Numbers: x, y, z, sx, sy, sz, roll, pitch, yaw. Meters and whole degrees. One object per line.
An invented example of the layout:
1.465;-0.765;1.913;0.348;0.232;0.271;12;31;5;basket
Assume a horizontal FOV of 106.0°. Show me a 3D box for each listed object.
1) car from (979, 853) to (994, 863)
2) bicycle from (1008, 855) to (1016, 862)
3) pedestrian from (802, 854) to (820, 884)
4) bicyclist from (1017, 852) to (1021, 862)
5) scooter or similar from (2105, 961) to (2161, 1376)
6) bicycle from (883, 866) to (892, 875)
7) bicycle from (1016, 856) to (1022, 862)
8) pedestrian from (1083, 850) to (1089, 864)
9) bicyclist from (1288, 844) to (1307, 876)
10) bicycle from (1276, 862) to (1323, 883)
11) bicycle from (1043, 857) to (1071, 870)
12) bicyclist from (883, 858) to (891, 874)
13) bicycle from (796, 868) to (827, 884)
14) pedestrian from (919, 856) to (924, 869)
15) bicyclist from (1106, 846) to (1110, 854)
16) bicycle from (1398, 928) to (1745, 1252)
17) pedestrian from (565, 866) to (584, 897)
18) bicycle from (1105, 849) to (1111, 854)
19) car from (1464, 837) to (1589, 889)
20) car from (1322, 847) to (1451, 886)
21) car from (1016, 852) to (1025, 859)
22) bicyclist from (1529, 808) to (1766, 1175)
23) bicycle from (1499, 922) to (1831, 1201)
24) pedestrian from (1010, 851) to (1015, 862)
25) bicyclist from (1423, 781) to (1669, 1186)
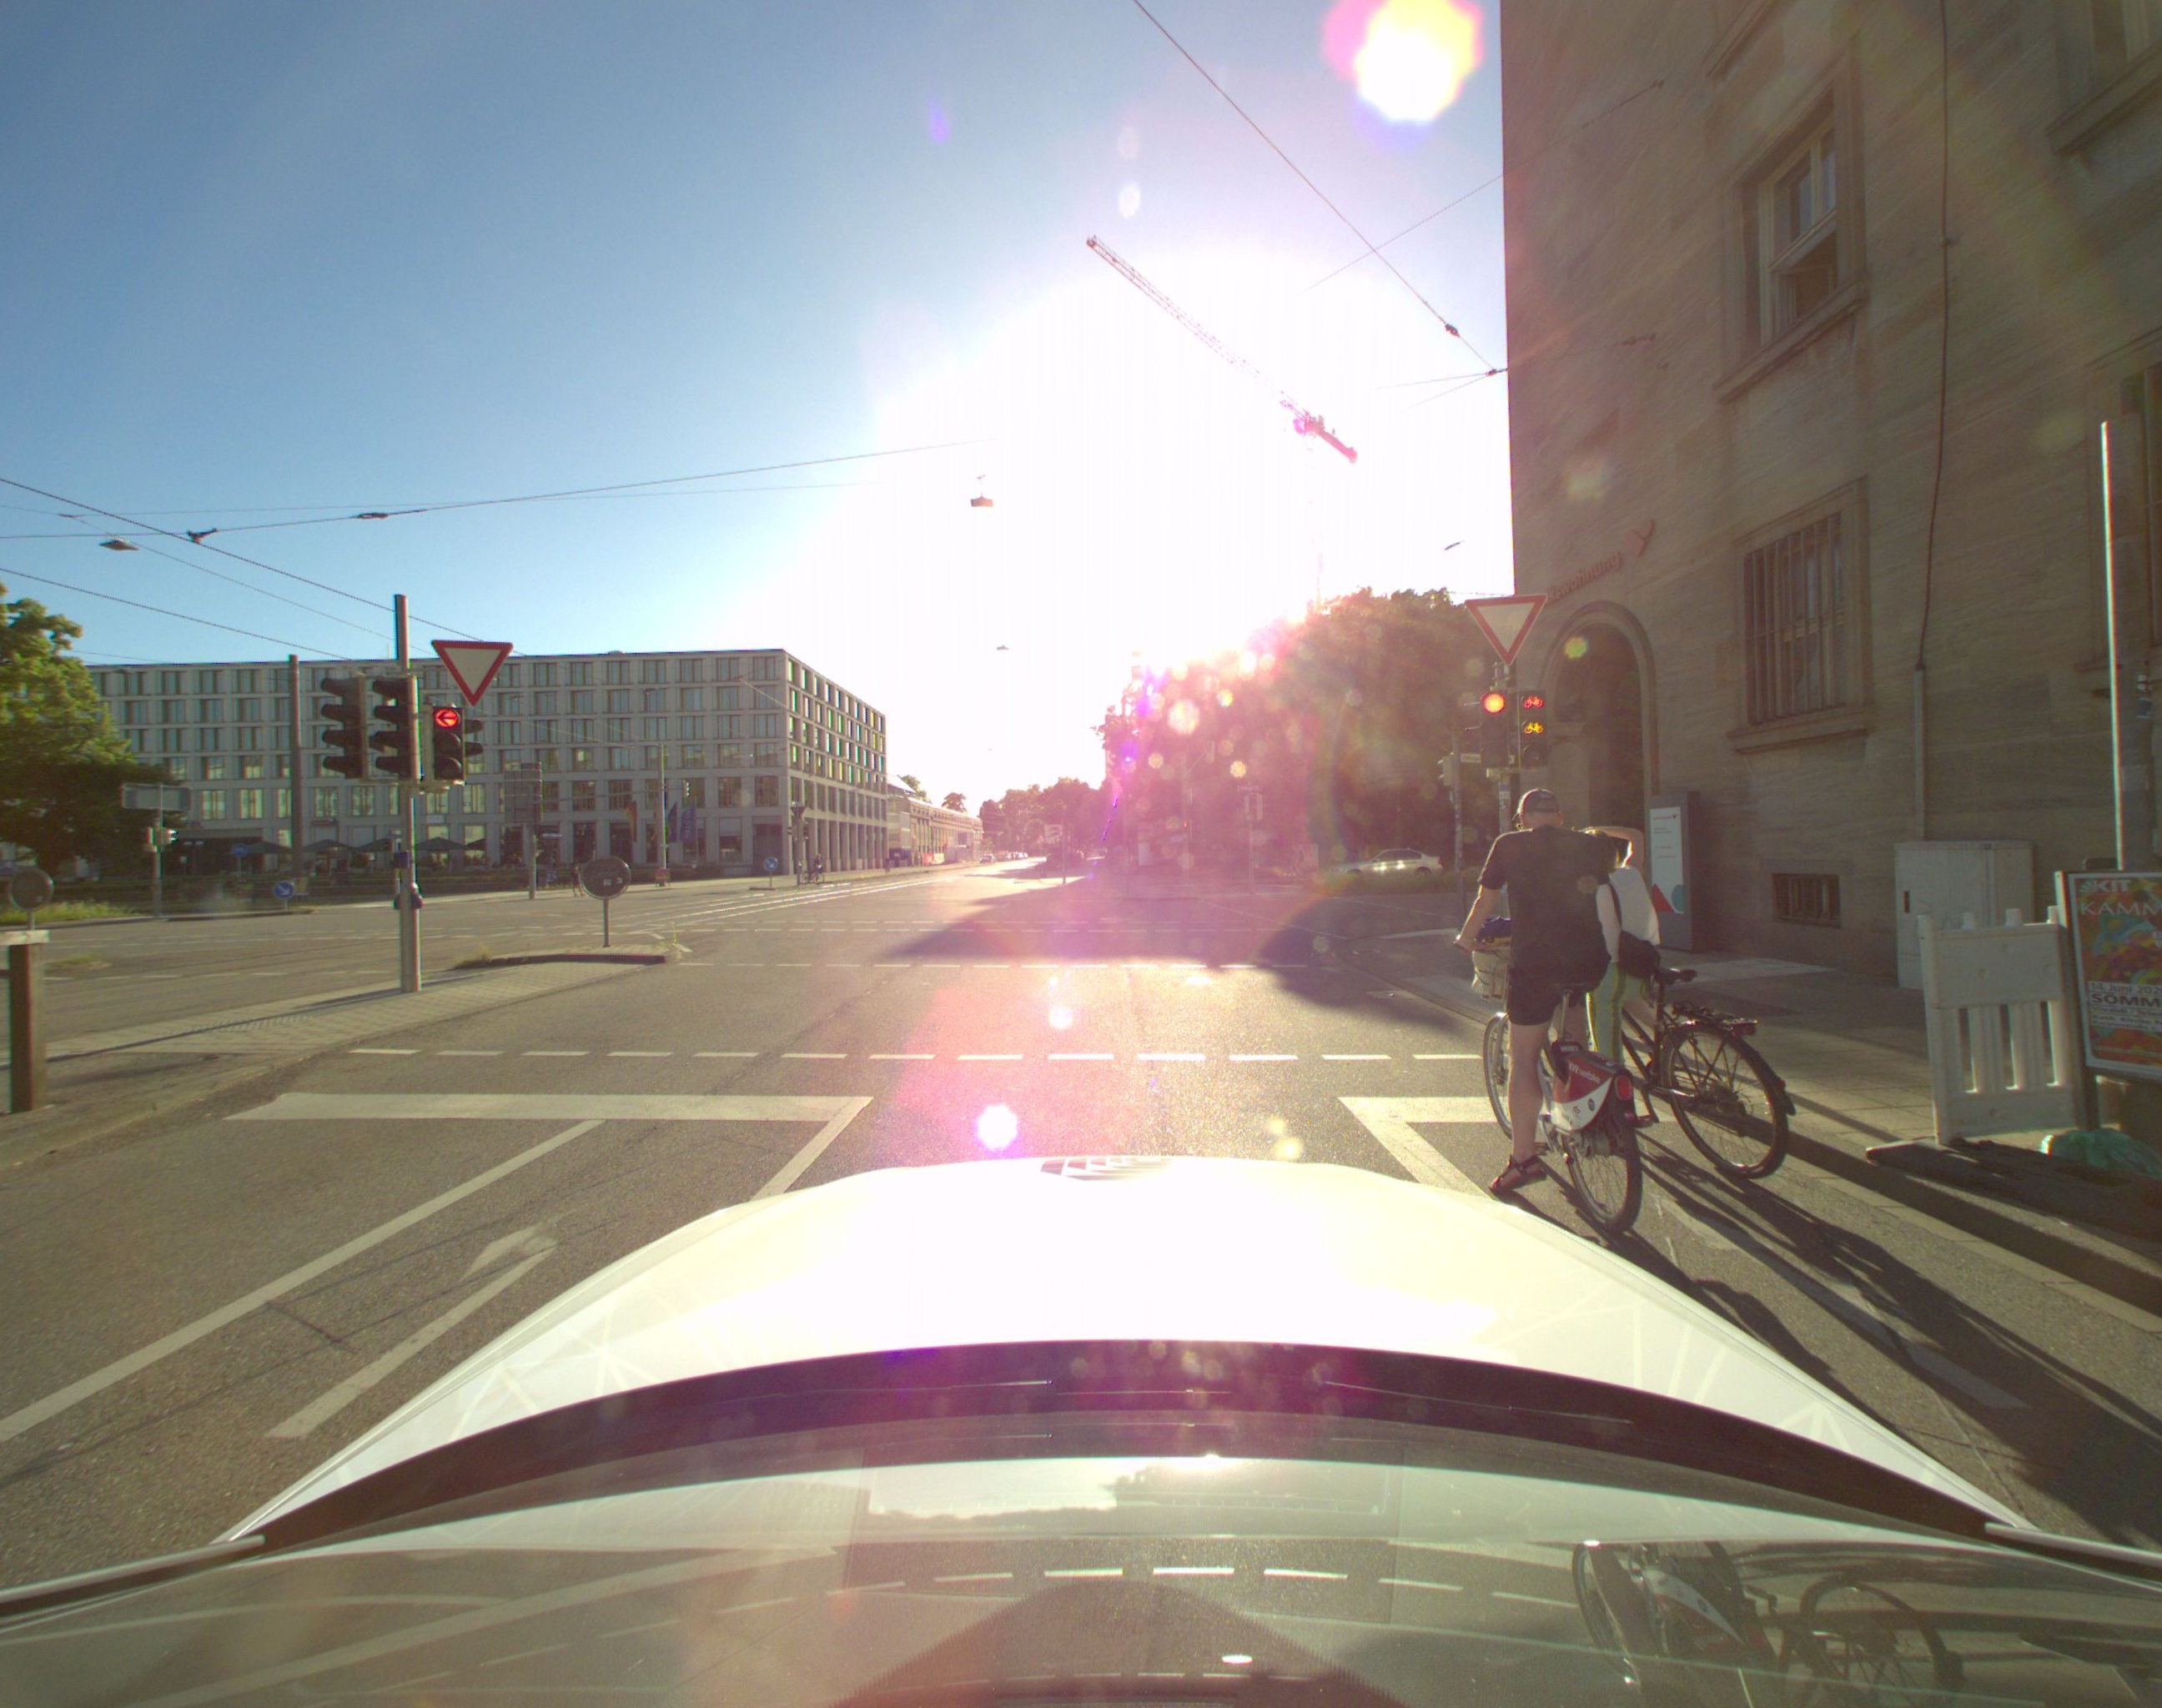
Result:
-15.811;0.722;136.351;1.988;1.599;3.999;-2;0;-1;car
-13.140;0.835;155.519;0.746;1.205;3.114;0;-1;7;bicycle
-14.708;0.798;44.379;0.735;1.595;0.577;-2;0;29;pedestrian
-12.259;0.667;160.835;0.748;1.920;1.214;0;-1;1;bicyclist
3.354;0.882;1.780;0.572;1.149;1.270;-1;-1;-4;scooter or similar
-18.404;1.568;77.459;0.492;0.839;1.158;-2;0;4;bicycle
-12.260;1.043;160.950;0.748;1.205;3.108;0;-1;1;bicycle
0.570;0.397;97.849;0.576;1.689;0.584;-2;0;-6;pedestrian
9.625;0.269;36.288;0.742;1.406;0.704;-1;-1;8;bicyclist
9.718;0.832;36.275;1.932;0.889;0.719;-1;-1;8;bicycle
-1.997;0.782;67.425;2.240;0.940;0.653;-2;0;-4;bicycle
-18.417;1.117;77.442;0.492;1.498;0.667;-2;0;4;bicyclist
-14.667;1.188;44.355;1.696;0.823;0.577;-2;0;29;bicycle
-24.310;1.280;124.161;0.585;1.889;0.478;0;-1;1;pedestrian
6.641;-1.022;200.674;0.891;2.014;0.746;0;-1;-10;bicyclist
2.190;0.971;3.949;0.621;1.044;1.747;-2;0;1;bicycle
-28.254;1.547;45.447;0.600;1.681;0.608;-2;0;9;pedestrian
6.632;-0.620;200.647;0.890;1.219;2.784;0;-1;-9;bicycle
17.888;0.353;32.848;3.970;2.014;2.002;0;-1;3;car
12.441;0.506;33.406;4.559;1.516;2.001;0;-1;1;car
-14.447;0.266;195.316;1.988;1.644;3.998;-2;0;-1;car
2.962;0.655;4.361;0.581;1.738;0.951;-2;0;2;bicyclist
2.971;0.971;4.395;0.579;1.044;1.748;-2;0;3;bicycle
-13.147;0.398;155.521;0.746;2.063;1.052;0;-1;7;pedestrian
2.183;0.551;3.944;0.621;1.715;0.912;-2;0;0;bicyclist
